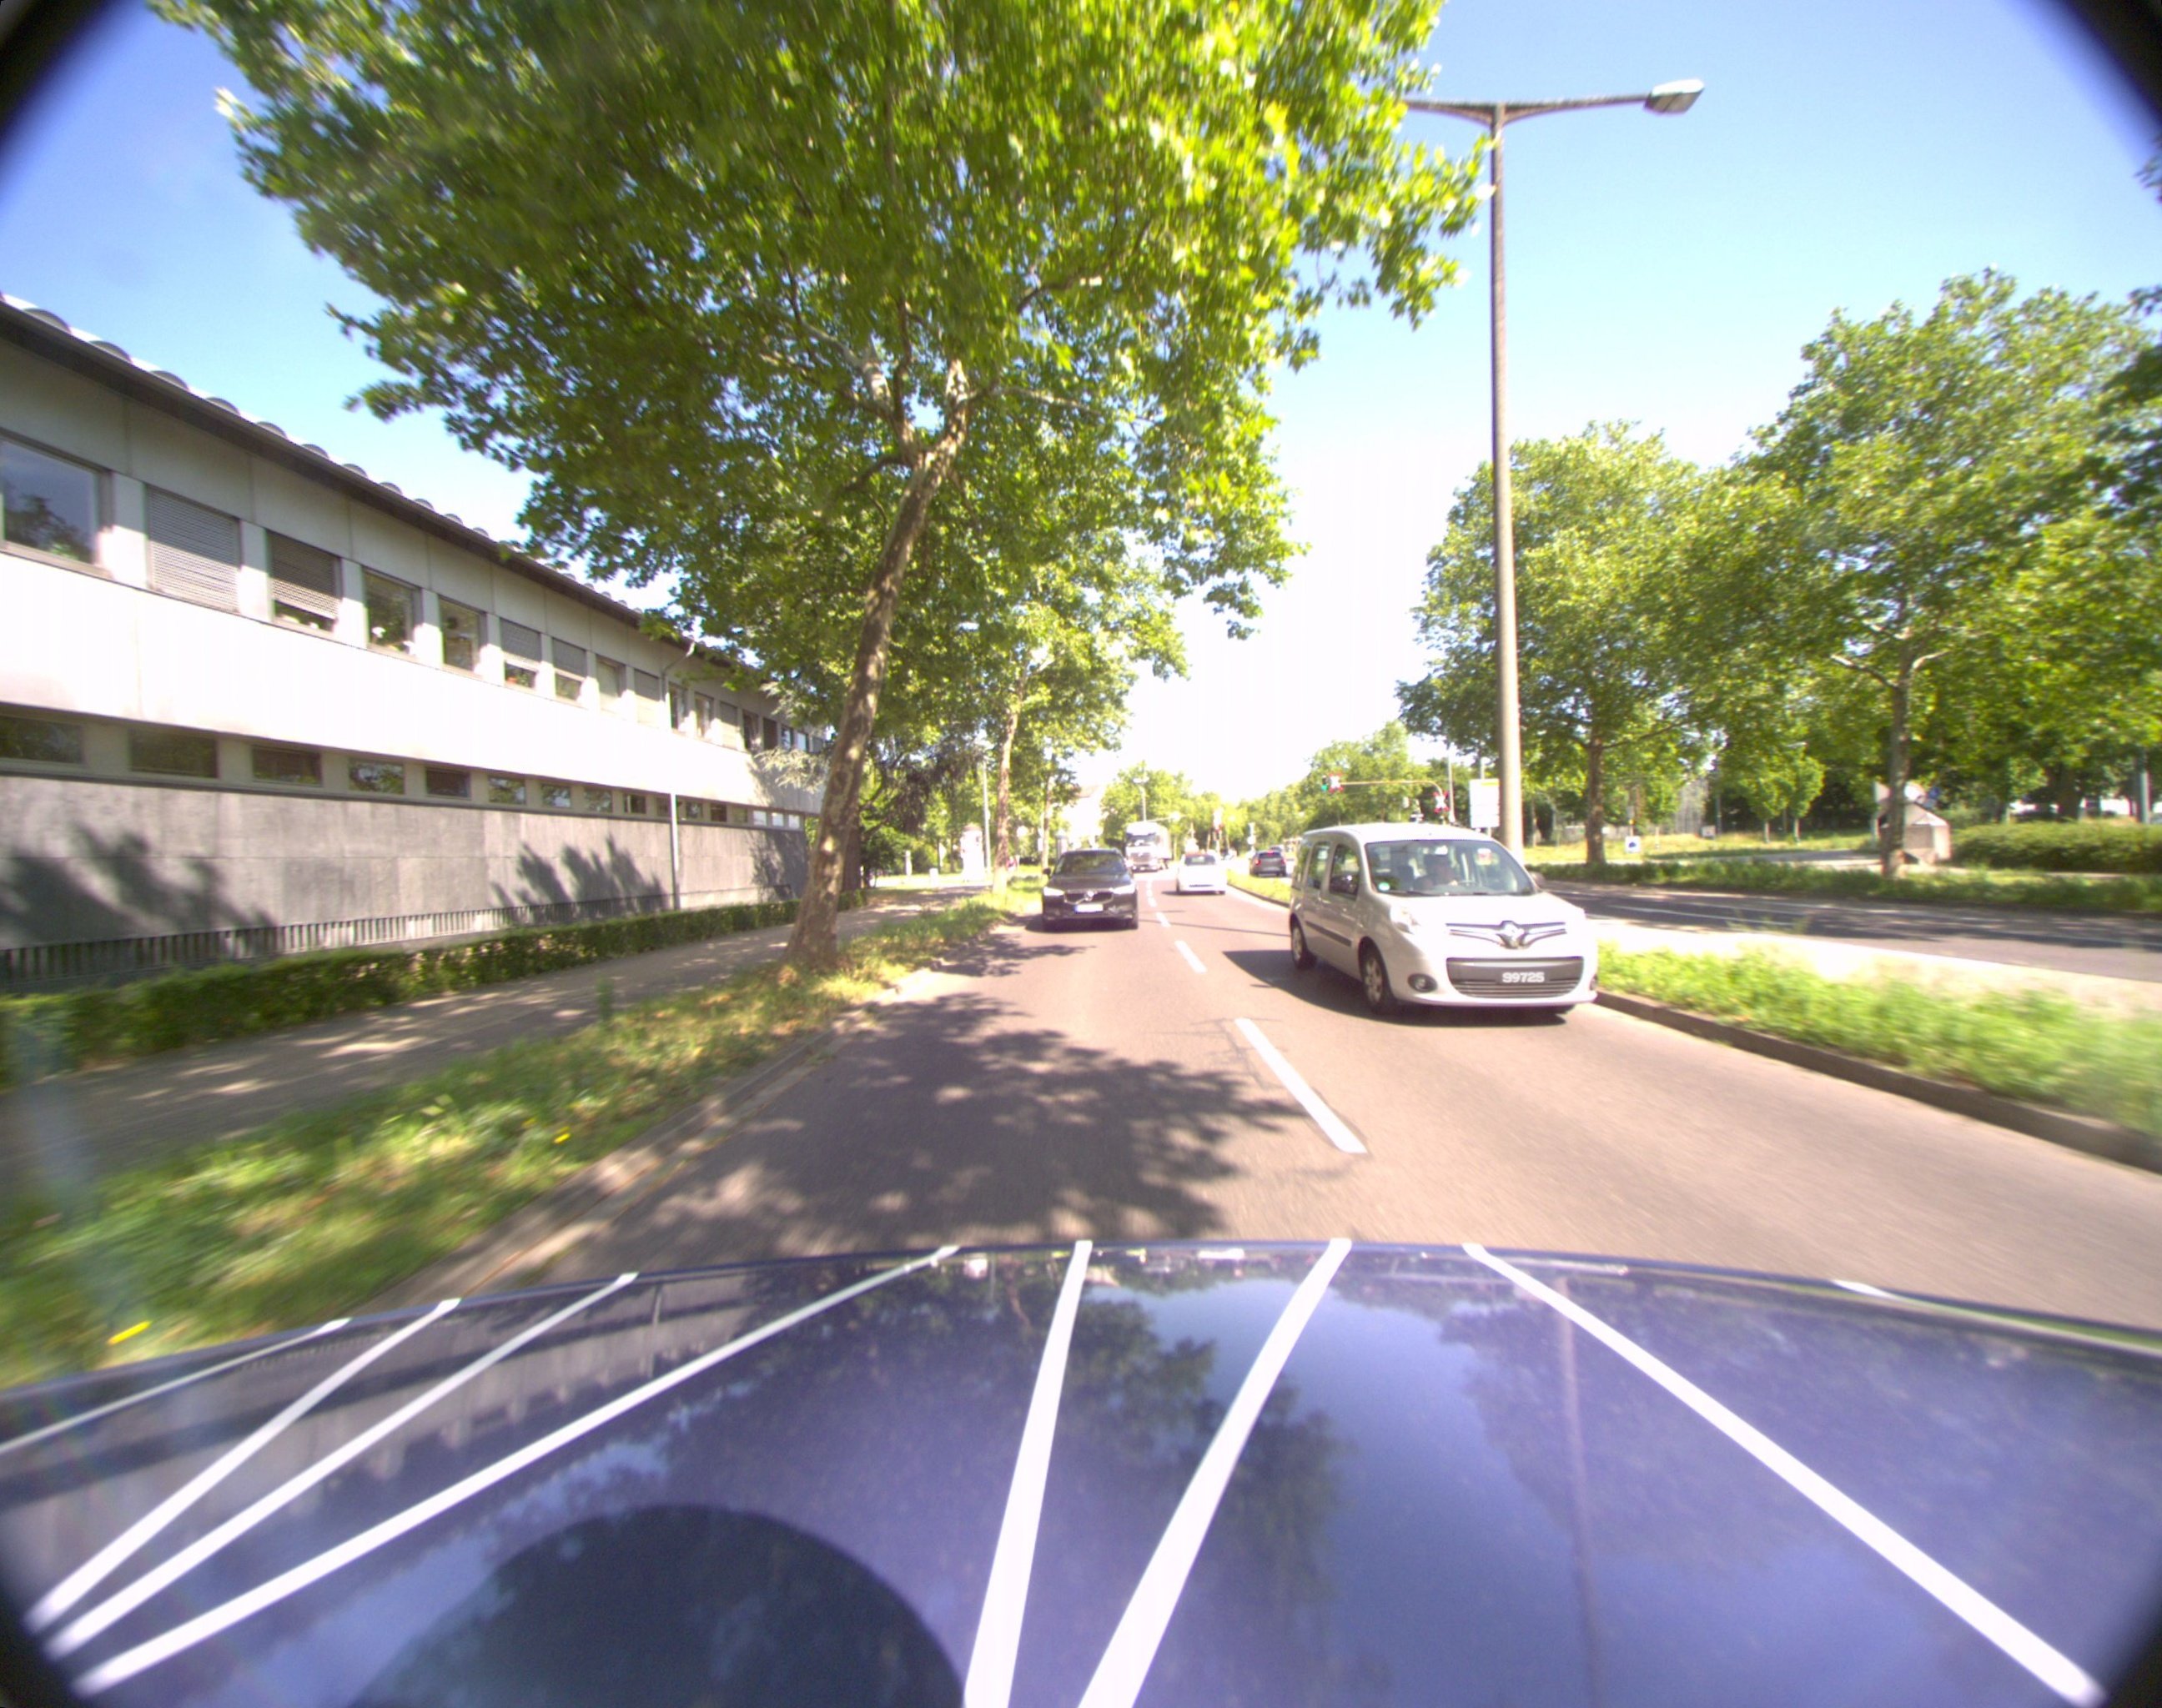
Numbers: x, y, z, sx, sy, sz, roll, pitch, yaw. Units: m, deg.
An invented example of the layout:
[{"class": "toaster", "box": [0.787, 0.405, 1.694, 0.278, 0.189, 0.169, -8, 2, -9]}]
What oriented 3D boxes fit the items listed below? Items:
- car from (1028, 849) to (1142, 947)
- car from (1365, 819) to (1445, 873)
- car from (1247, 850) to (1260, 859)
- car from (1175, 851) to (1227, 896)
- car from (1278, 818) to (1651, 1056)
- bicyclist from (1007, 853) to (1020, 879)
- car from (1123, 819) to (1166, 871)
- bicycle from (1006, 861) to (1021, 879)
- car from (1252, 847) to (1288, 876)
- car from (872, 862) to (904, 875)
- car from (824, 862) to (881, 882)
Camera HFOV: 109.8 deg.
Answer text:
[{"class": "car", "box": [0.166, 0.778, 15.588, 1.904, 1.605, 4.873, -3, 0, 2]}, {"class": "car", "box": [17.169, -0.421, 40.686, 2.064, 2.598, 7.221, -1, 0, 8]}, {"class": "car", "box": [40.415, 0.015, 178.417, 1.995, 2.002, 4.007, -3, 0, 27]}, {"class": "car", "box": [4.344, 0.680, 28.000, 1.688, 1.482, 4.378, -1, 0, 6]}, {"class": "car", "box": [3.522, 0.633, 8.054, 1.876, 1.829, 4.376, 0, 0, 2]}, {"class": "bicyclist", "box": [-4.736, 0.816, 53.134, 0.702, 1.776, 0.810, -3, 0, 4]}, {"class": "car", "box": [5.327, -0.695, 62.471, 2.901, 3.898, 7.146, -2, 0, 8]}, {"class": "bicycle", "box": [-4.725, 1.128, 53.143, 0.693, 1.178, 2.126, -3, 0, 3]}, {"class": "car", "box": [10.422, 0.378, 42.130, 1.697, 1.499, 4.132, -2, 0, 11]}, {"class": "car", "box": [-27.126, 2.017, 106.891, 1.995, 1.482, 4.362, -3, 0, 26]}, {"class": "car", "box": [-22.098, 1.714, 73.675, 2.137, 1.490, 5.127, -3, 1, 29]}]
